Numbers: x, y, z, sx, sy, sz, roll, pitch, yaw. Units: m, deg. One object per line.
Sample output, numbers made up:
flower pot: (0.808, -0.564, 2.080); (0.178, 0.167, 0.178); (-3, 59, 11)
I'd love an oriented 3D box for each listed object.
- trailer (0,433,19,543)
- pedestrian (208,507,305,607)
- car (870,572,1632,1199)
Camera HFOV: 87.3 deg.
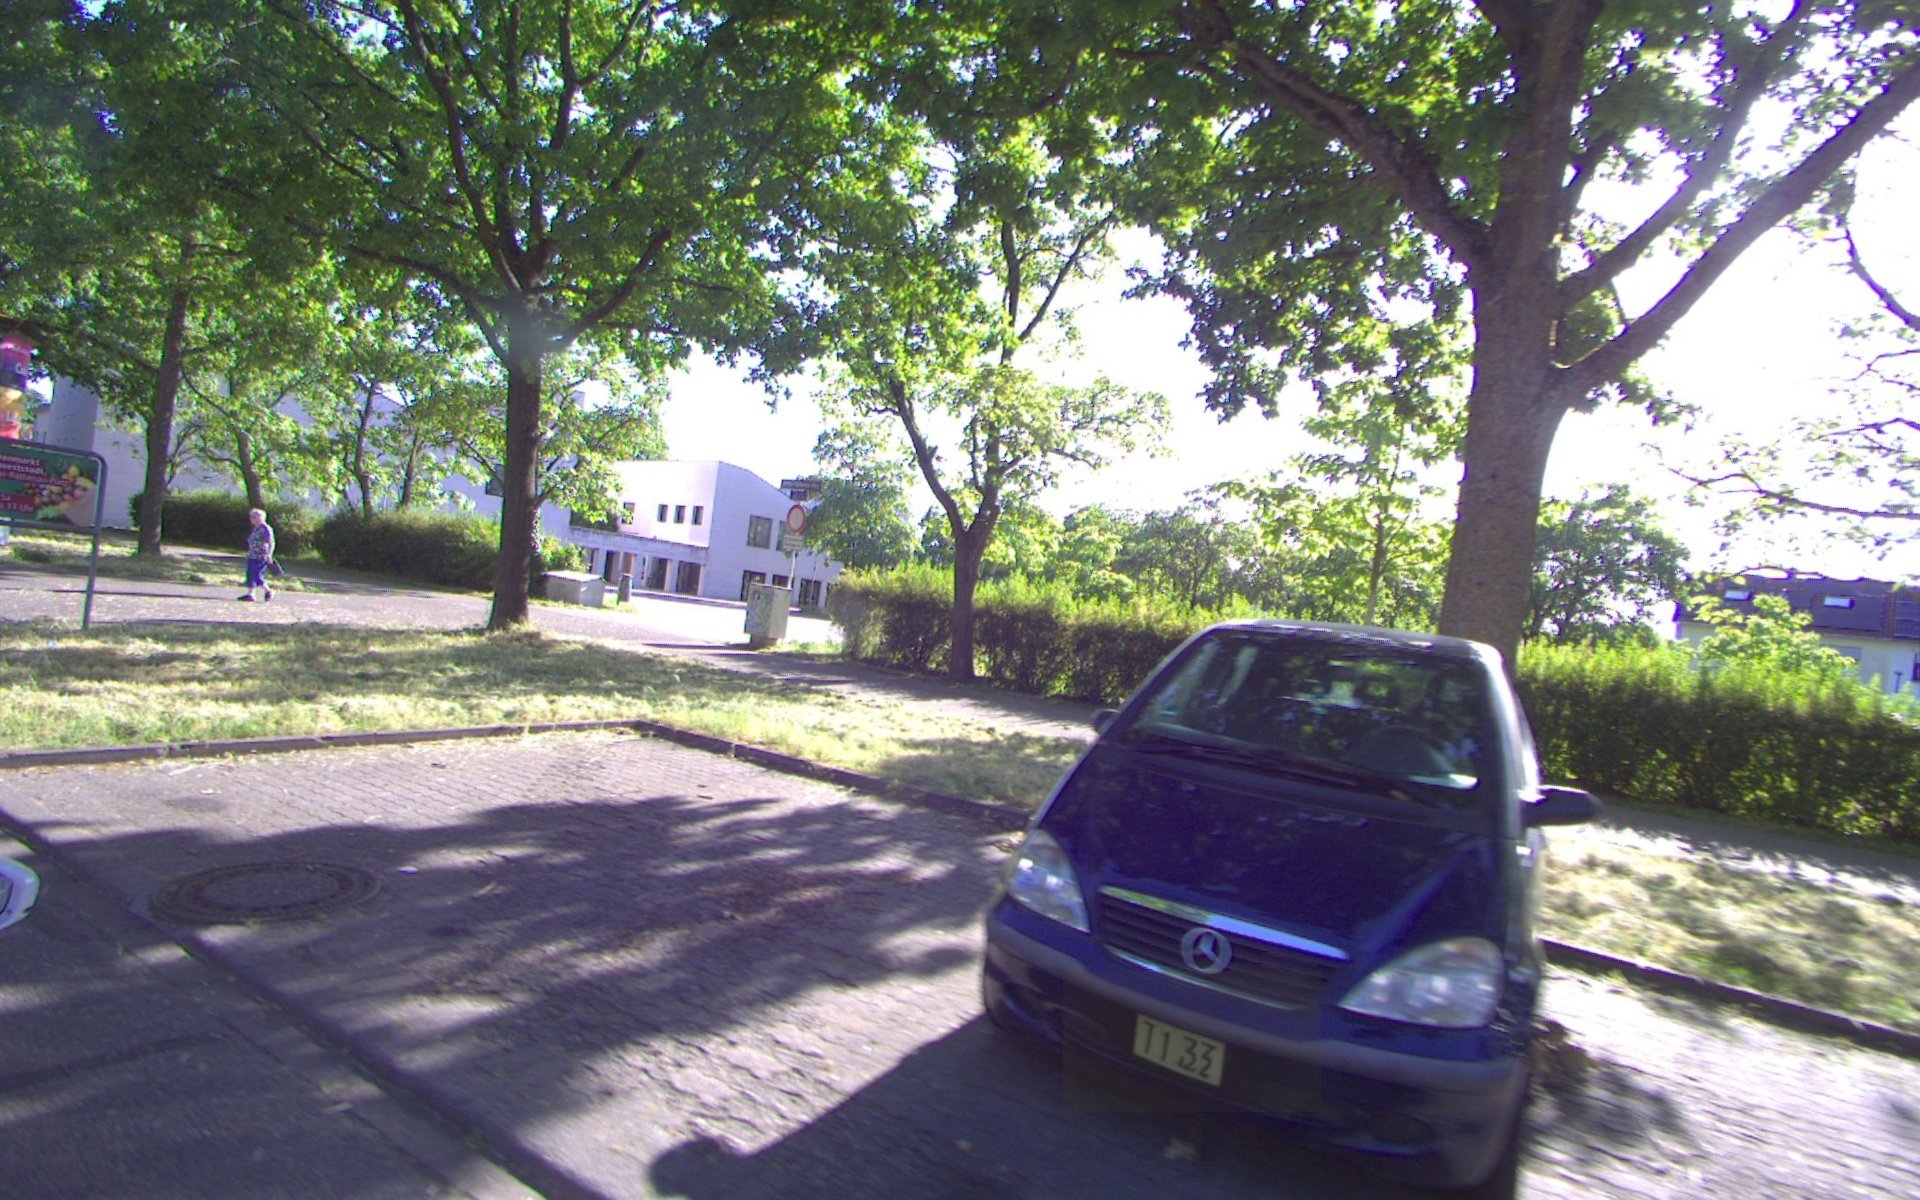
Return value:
trailer: (-22.849, -2.639, 19.967); (1.658, 2.348, 5.776); (8, 2, 33)
pedestrian: (-11.696, -0.700, 16.758); (0.870, 1.519, 0.941); (7, 2, -8)
car: (1.471, 0.885, 4.214); (1.826, 1.597, 3.587); (7, 1, 30)
